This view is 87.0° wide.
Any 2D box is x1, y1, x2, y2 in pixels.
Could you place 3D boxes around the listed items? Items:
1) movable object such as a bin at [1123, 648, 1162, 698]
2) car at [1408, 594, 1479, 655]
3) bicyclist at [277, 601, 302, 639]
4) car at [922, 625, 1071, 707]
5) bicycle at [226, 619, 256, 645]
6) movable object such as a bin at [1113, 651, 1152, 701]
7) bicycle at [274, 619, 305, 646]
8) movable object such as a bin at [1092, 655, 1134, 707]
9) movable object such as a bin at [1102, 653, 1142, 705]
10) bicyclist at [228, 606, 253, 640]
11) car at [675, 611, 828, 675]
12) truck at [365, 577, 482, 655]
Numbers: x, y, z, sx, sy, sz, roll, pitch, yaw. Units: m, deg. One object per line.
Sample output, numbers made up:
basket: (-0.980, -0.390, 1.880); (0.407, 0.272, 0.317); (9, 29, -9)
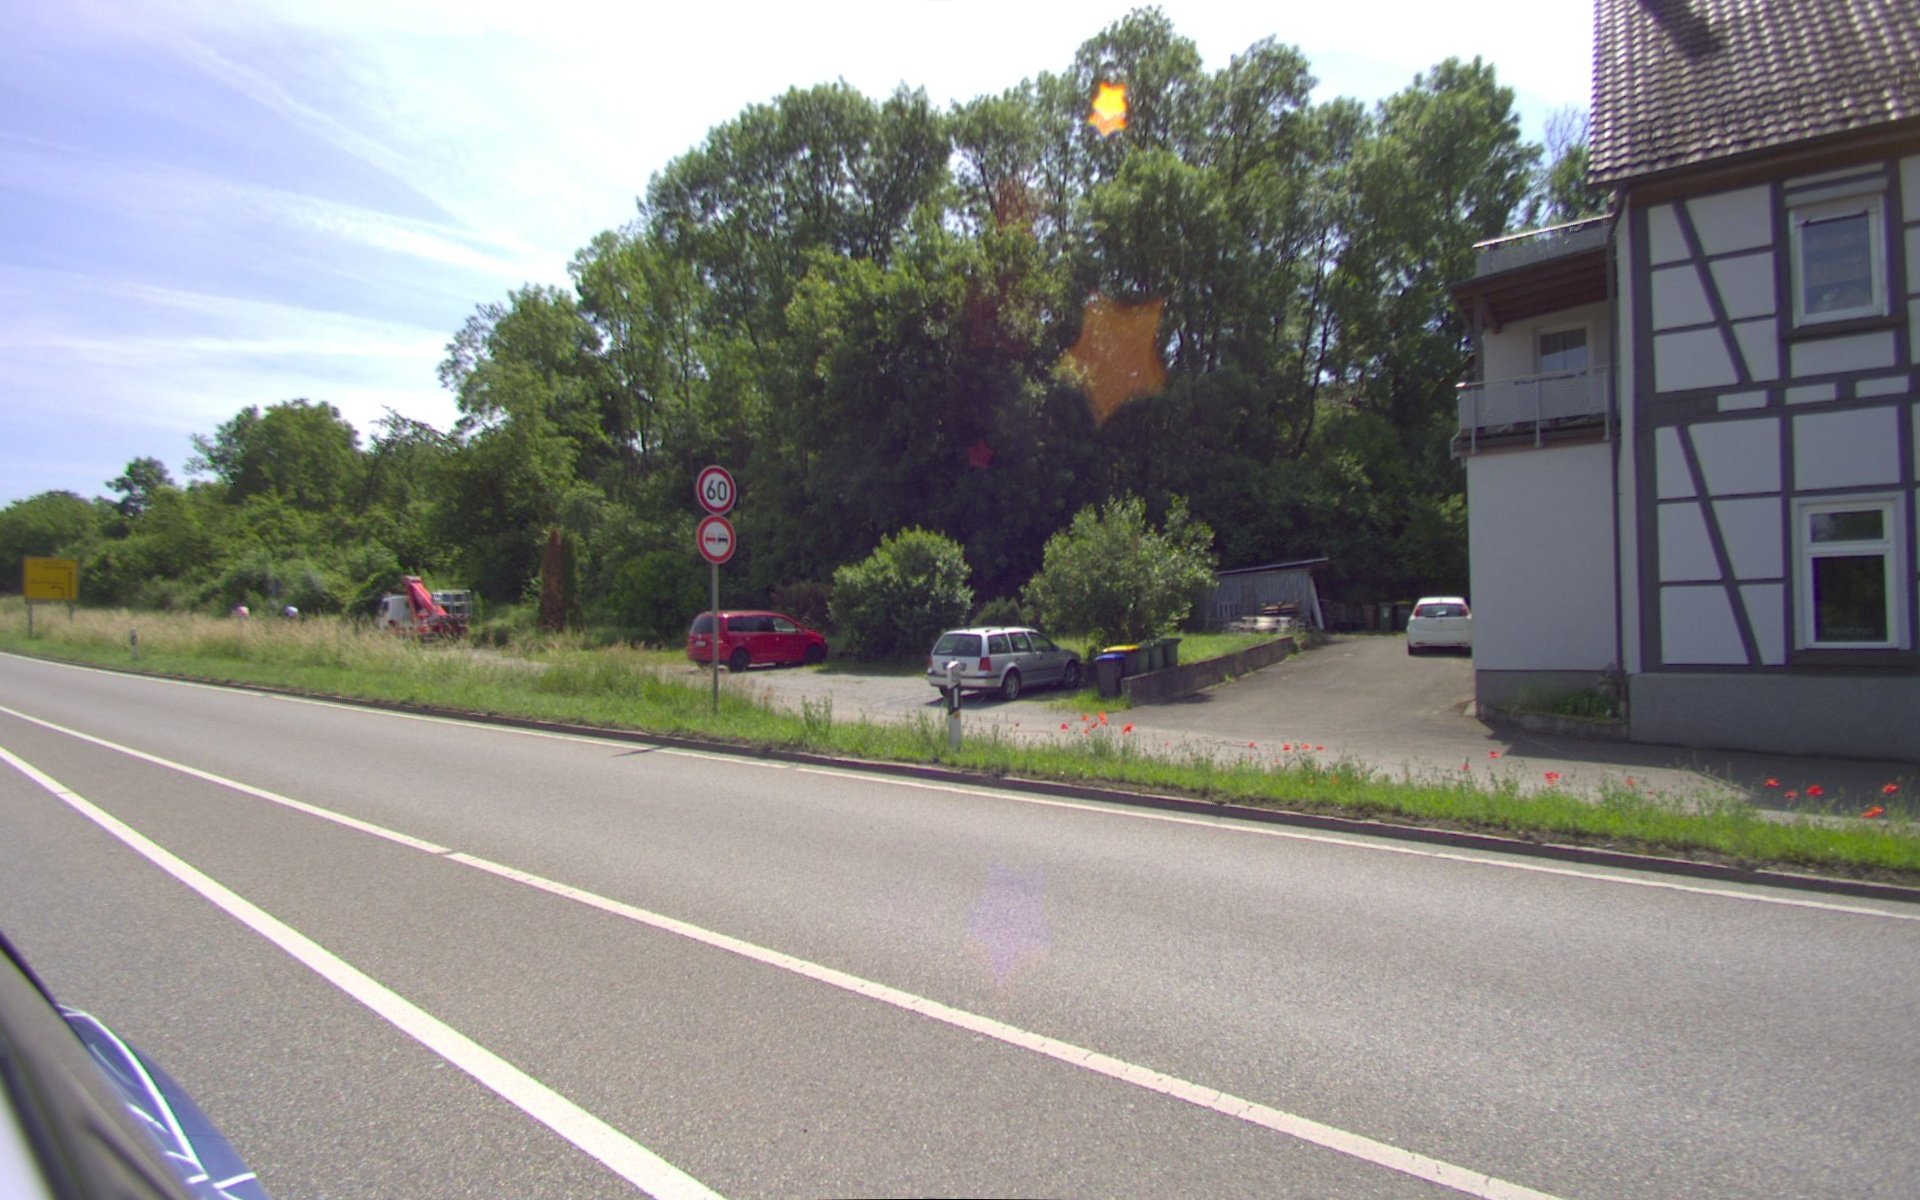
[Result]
movable object such as a bin: (3.819, 1.521, 21.173); (0.653, 0.984, 0.499); (0, 0, 33)
car: (13.385, 0.646, 27.947); (1.664, 1.457, 3.357); (-1, 2, 27)
bicyclist: (-31.356, 0.931, 47.314); (0.936, 1.727, 0.740); (-1, 0, 43)
car: (0.837, 1.326, 21.435); (1.606, 1.476, 3.348); (-1, 0, 34)
bicycle: (-35.119, 1.549, 49.411); (2.104, 1.221, 0.741); (-1, 0, 41)
movable object such as a bin: (3.529, 1.545, 20.720); (0.653, 0.978, 0.499); (0, 0, 33)
bicycle: (-31.356, 1.513, 47.327); (2.105, 1.189, 0.740); (-1, 0, 43)
movable object such as a bin: (2.989, 1.569, 19.759); (0.653, 0.943, 0.499); (0, 0, 33)
movable object such as a bin: (3.236, 1.561, 20.245); (0.653, 0.977, 0.499); (0, 0, 33)
bicyclist: (-35.123, 1.106, 49.403); (0.935, 1.607, 0.740); (-1, 0, 41)
car: (-5.890, 1.165, 28.910); (1.832, 1.631, 3.985); (-1, 0, 41)
truck: (-22.345, 0.627, 41.983); (6.771, 2.986, 2.005); (-1, 0, 42)
